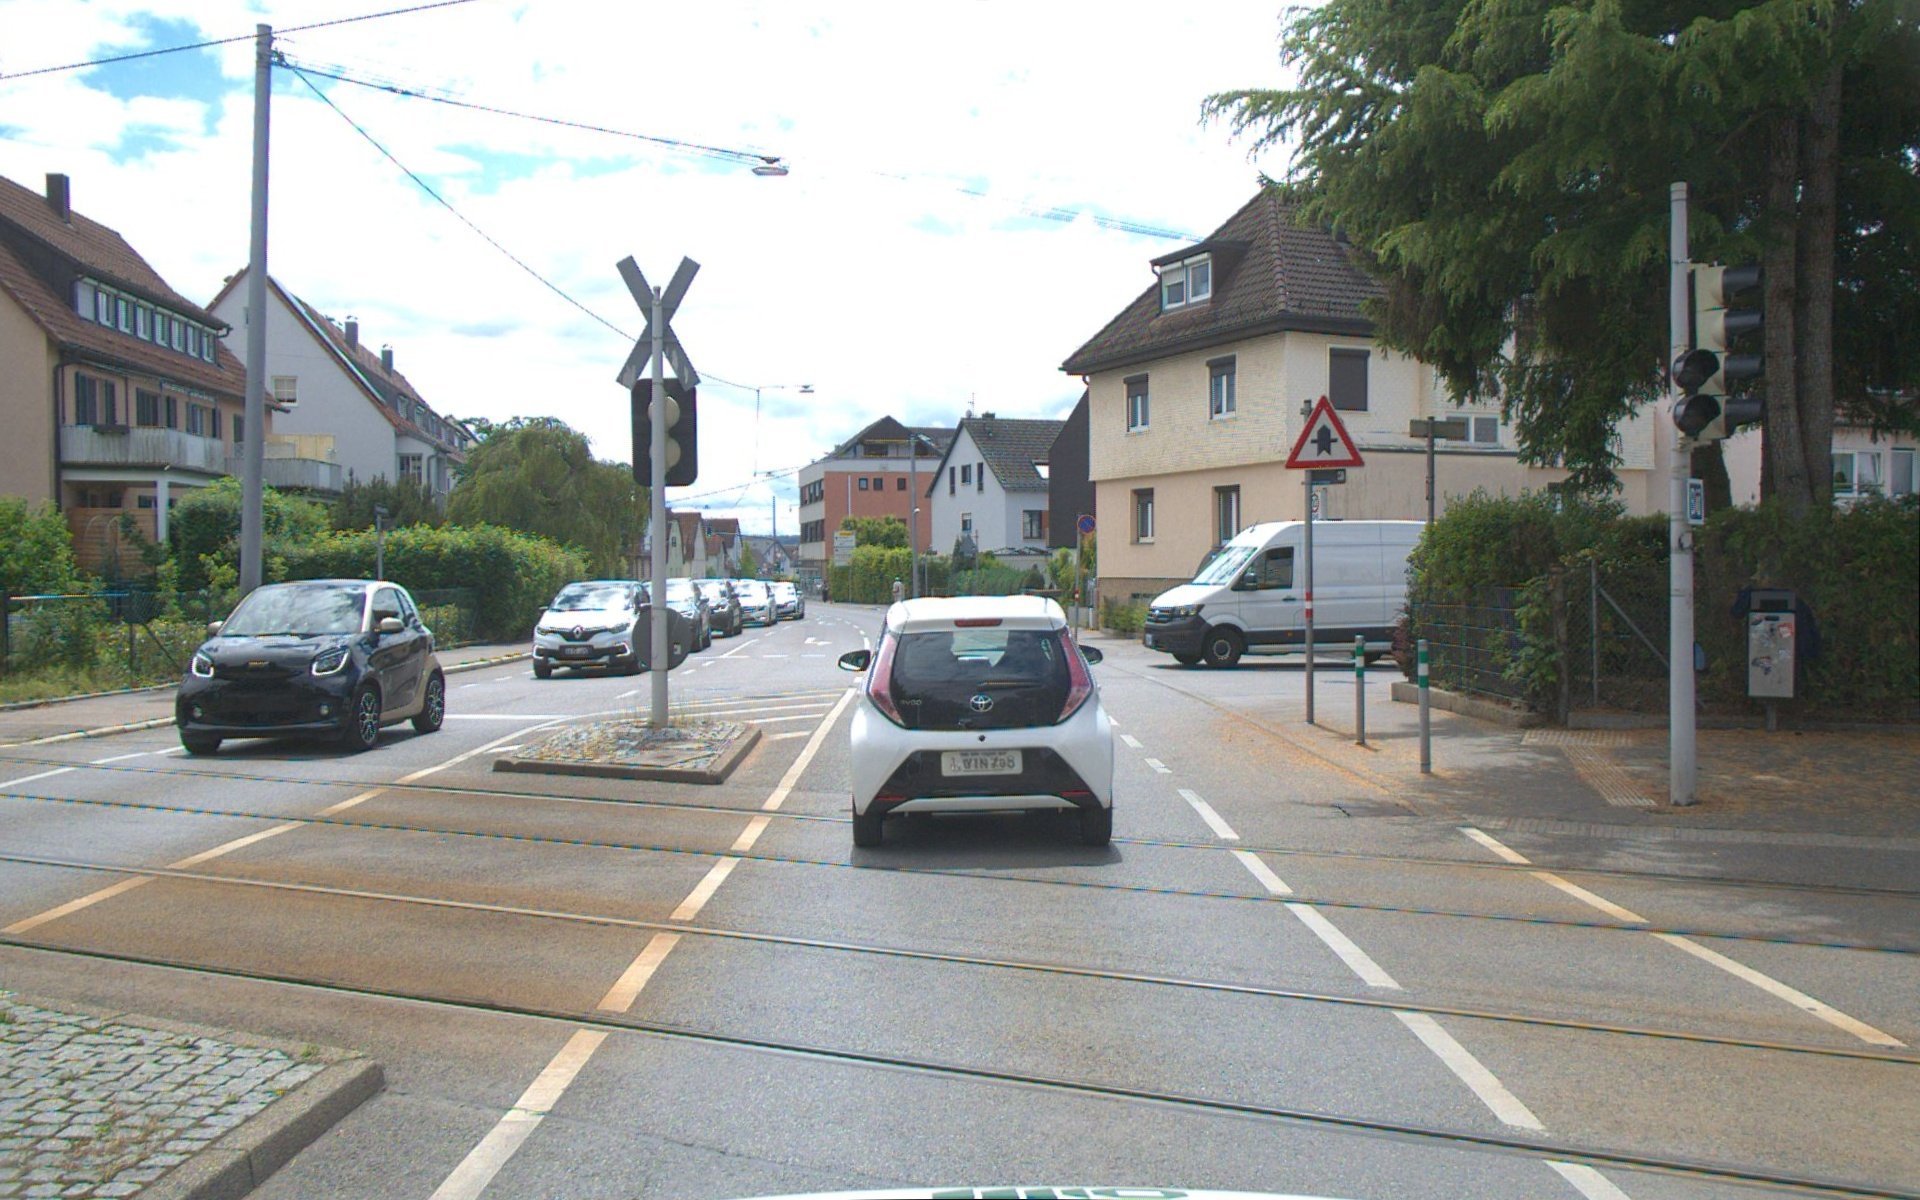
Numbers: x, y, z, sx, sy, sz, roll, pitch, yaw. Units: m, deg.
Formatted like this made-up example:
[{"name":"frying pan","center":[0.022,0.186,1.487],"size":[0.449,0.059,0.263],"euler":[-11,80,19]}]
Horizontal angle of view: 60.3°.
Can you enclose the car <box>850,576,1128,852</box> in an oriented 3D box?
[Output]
[{"name":"car","center":[0.158,0.626,11.443],"size":[1.588,1.512,4.000],"euler":[0,2,0]}]

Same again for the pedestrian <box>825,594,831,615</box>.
[{"name":"pedestrian","center":[-9.364,0.329,117.523],"size":[0.405,1.463,0.436],"euler":[0,0,-10]}]

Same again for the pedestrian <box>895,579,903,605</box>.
[{"name":"pedestrian","center":[-3.319,-0.443,90.546],"size":[0.404,1.463,0.438],"euler":[0,0,3]}]

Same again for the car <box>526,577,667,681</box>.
[{"name":"car","center":[-6.206,0.436,28.657],"size":[1.740,1.631,4.036],"euler":[-2,1,-4]}]

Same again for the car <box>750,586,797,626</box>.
[{"name":"car","center":[-7.406,0.245,65.631],"size":[1.741,1.455,4.515],"euler":[-2,0,-7]}]

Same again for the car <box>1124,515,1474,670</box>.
[{"name":"car","center":[6.046,-0.174,29.666],"size":[5.893,2.626,1.993],"euler":[-1,1,-14]}]

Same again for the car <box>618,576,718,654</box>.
[{"name":"car","center":[-6.574,0.331,37.588],"size":[1.740,1.631,4.035],"euler":[-2,0,-4]}]

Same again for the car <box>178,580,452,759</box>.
[{"name":"car","center":[-6.035,0.590,15.779],"size":[1.543,1.536,2.788],"euler":[0,1,-1]}]

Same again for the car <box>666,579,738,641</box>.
[{"name":"car","center":[-7.365,0.291,47.464],"size":[1.741,1.631,4.164],"euler":[-2,0,-5]}]

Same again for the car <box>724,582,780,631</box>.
[{"name":"car","center":[-7.182,0.222,57.478],"size":[1.740,1.589,4.164],"euler":[-2,0,-5]}]
